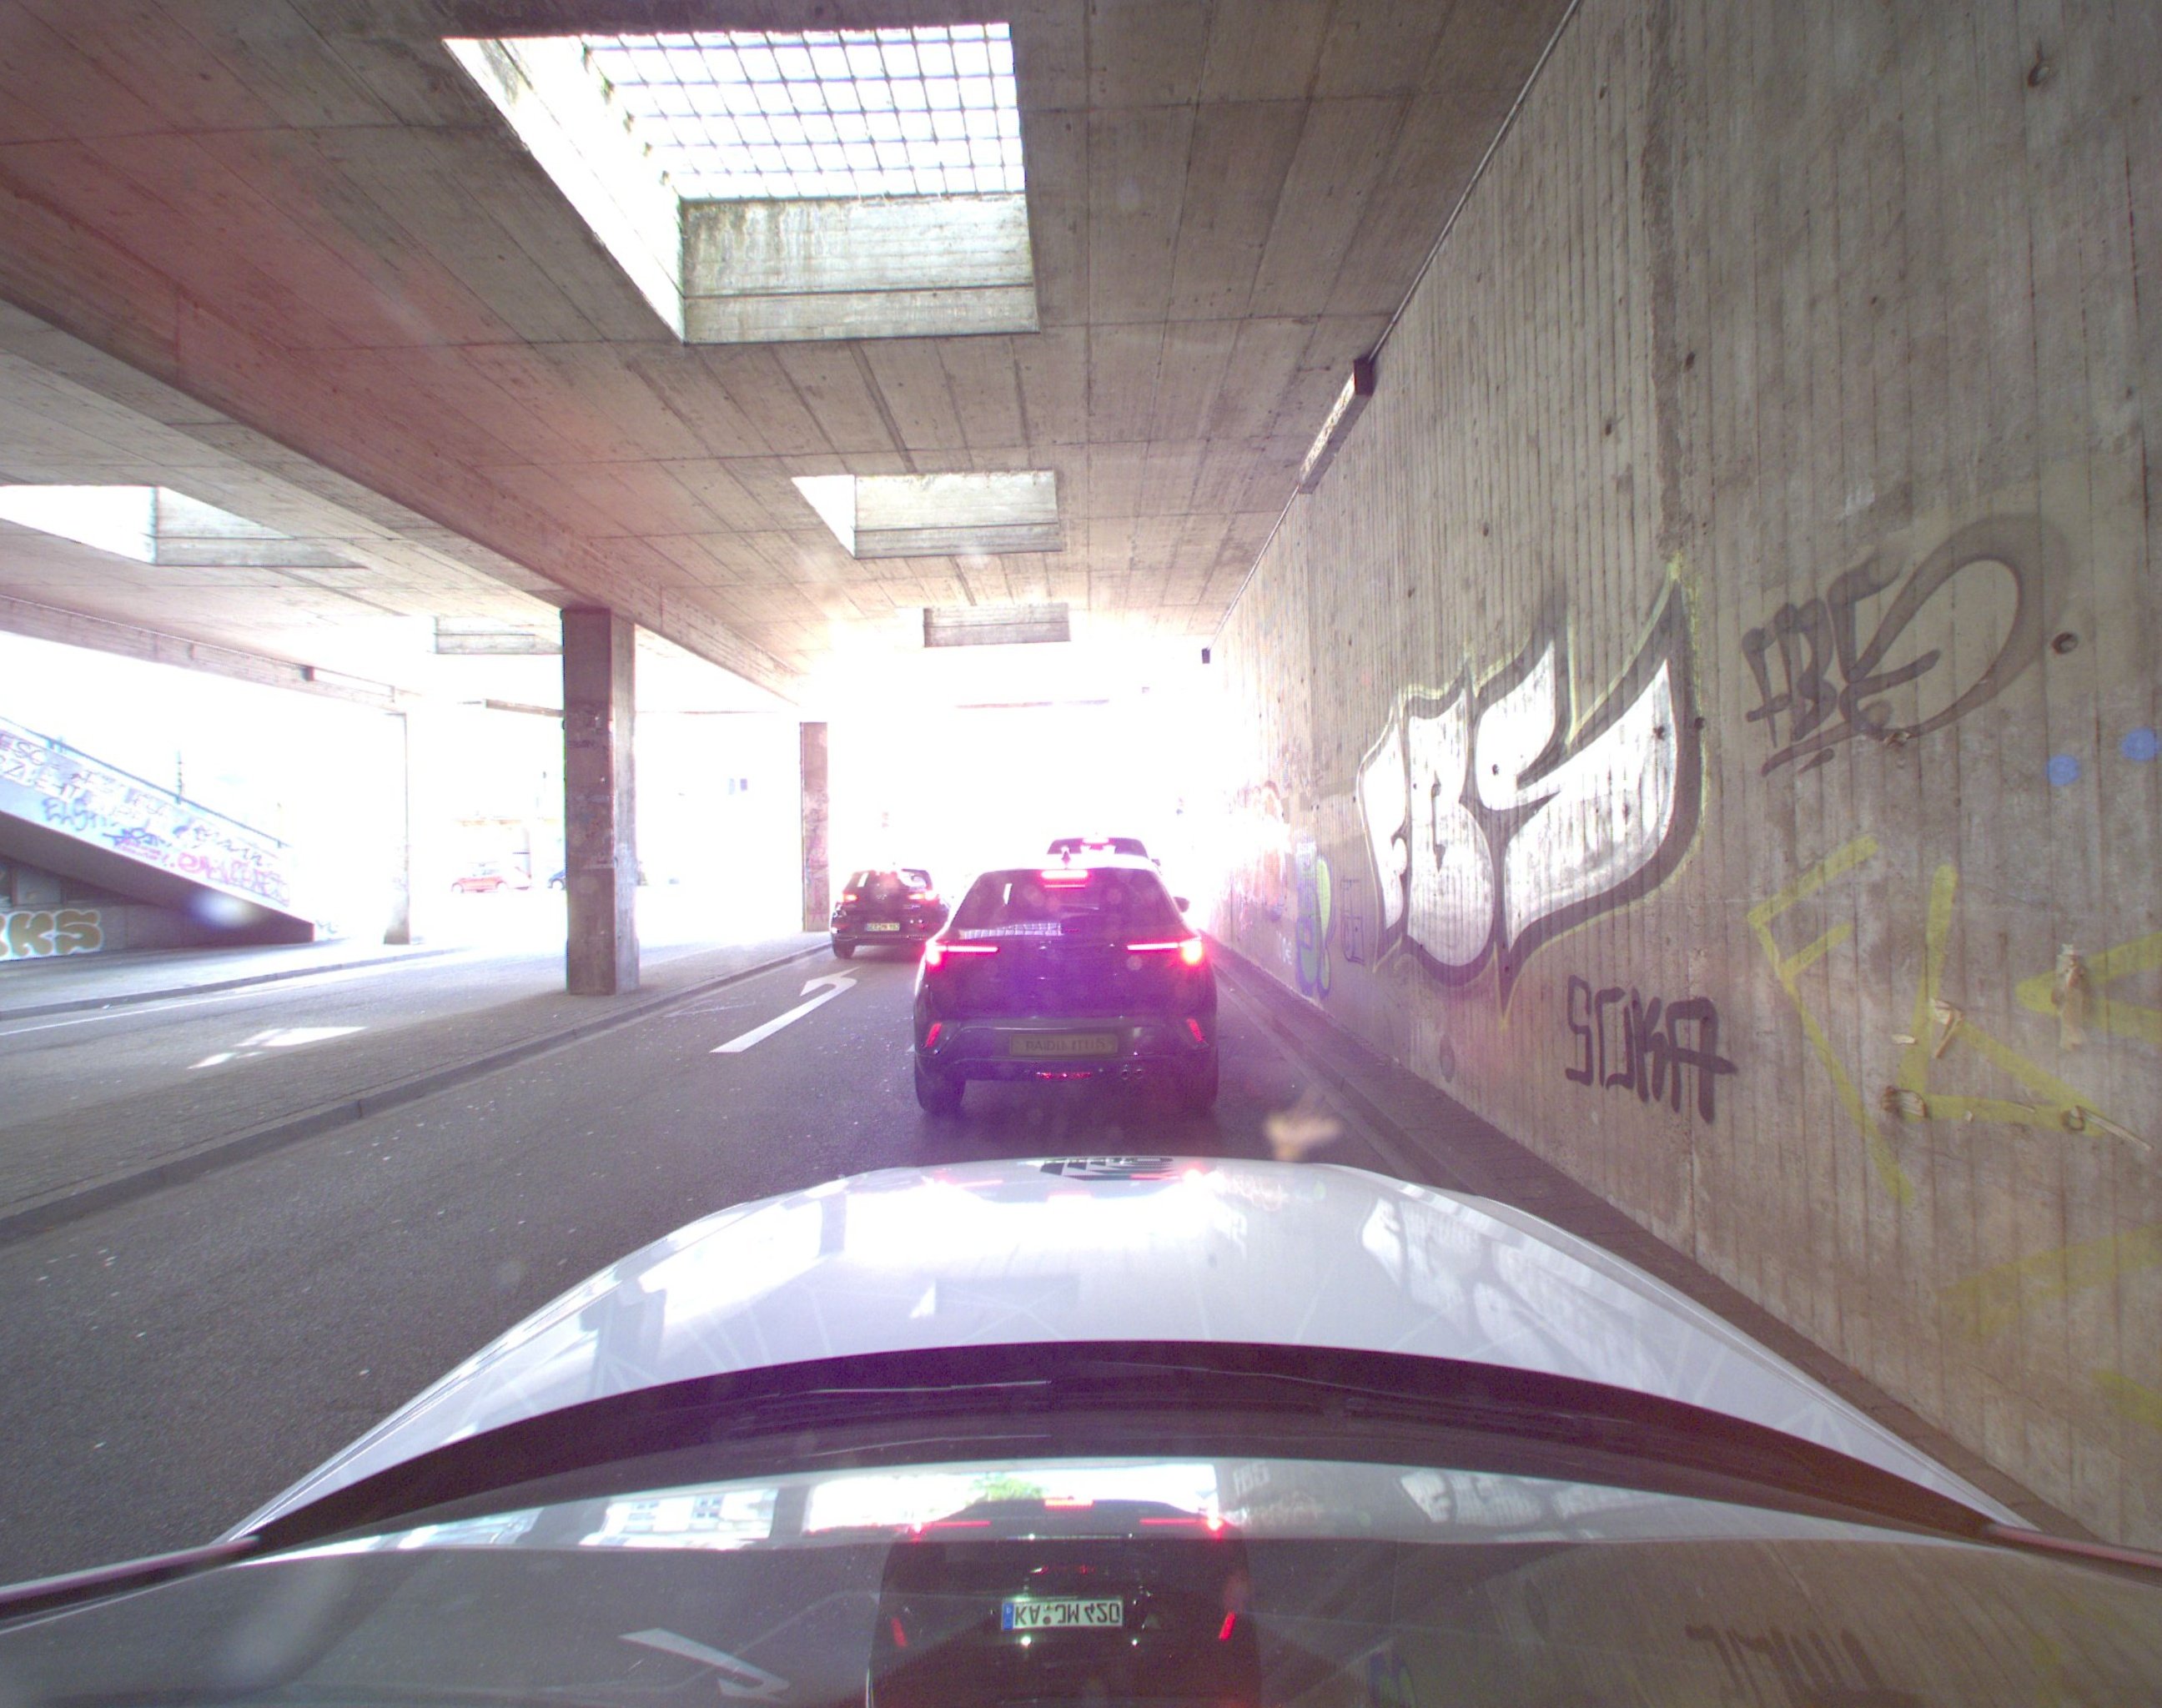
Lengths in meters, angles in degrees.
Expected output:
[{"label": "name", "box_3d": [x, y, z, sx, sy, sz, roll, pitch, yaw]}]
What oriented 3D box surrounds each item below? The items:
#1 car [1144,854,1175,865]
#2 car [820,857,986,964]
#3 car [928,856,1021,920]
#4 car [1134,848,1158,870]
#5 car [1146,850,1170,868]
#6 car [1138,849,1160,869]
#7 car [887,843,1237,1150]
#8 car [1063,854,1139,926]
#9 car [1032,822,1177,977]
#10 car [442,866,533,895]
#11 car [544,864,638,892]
[{"label": "car", "box_3d": [12.852, 0.872, 133.650, 4.814, 1.667, 1.812, 0, -1, -19]}, {"label": "car", "box_3d": [-2.753, 0.802, 13.448, 1.755, 1.480, 3.846, -1, 0, 2]}, {"label": "car", "box_3d": [-2.663, 0.799, 21.176, 1.755, 1.480, 3.846, -1, 0, 2]}, {"label": "car", "box_3d": [4.968, 0.387, 62.215, 1.745, 1.667, 3.950, 0, -1, 6]}, {"label": "car", "box_3d": [7.201, 0.484, 75.862, 1.742, 1.667, 3.956, 0, -1, 11]}, {"label": "car", "box_3d": [5.757, 0.432, 68.319, 1.745, 1.667, 3.950, 0, -1, 6]}, {"label": "car", "box_3d": [-0.033, 0.729, 6.189, 1.755, 1.531, 4.091, -1, 0, 2]}, {"label": "car", "box_3d": [0.489, 0.765, 19.346, 1.603, 1.513, 4.055, -1, 0, 2]}, {"label": "car", "box_3d": [0.352, 0.569, 12.128, 1.755, 1.883, 4.148, -1, 0, 2]}, {"label": "car", "box_3d": [-32.930, 1.445, 45.236, 3.748, 1.475, 1.749, -1, -1, 0]}, {"label": "car", "box_3d": [-27.174, 1.323, 45.258, 4.096, 1.475, 1.737, -1, -1, 0]}]
